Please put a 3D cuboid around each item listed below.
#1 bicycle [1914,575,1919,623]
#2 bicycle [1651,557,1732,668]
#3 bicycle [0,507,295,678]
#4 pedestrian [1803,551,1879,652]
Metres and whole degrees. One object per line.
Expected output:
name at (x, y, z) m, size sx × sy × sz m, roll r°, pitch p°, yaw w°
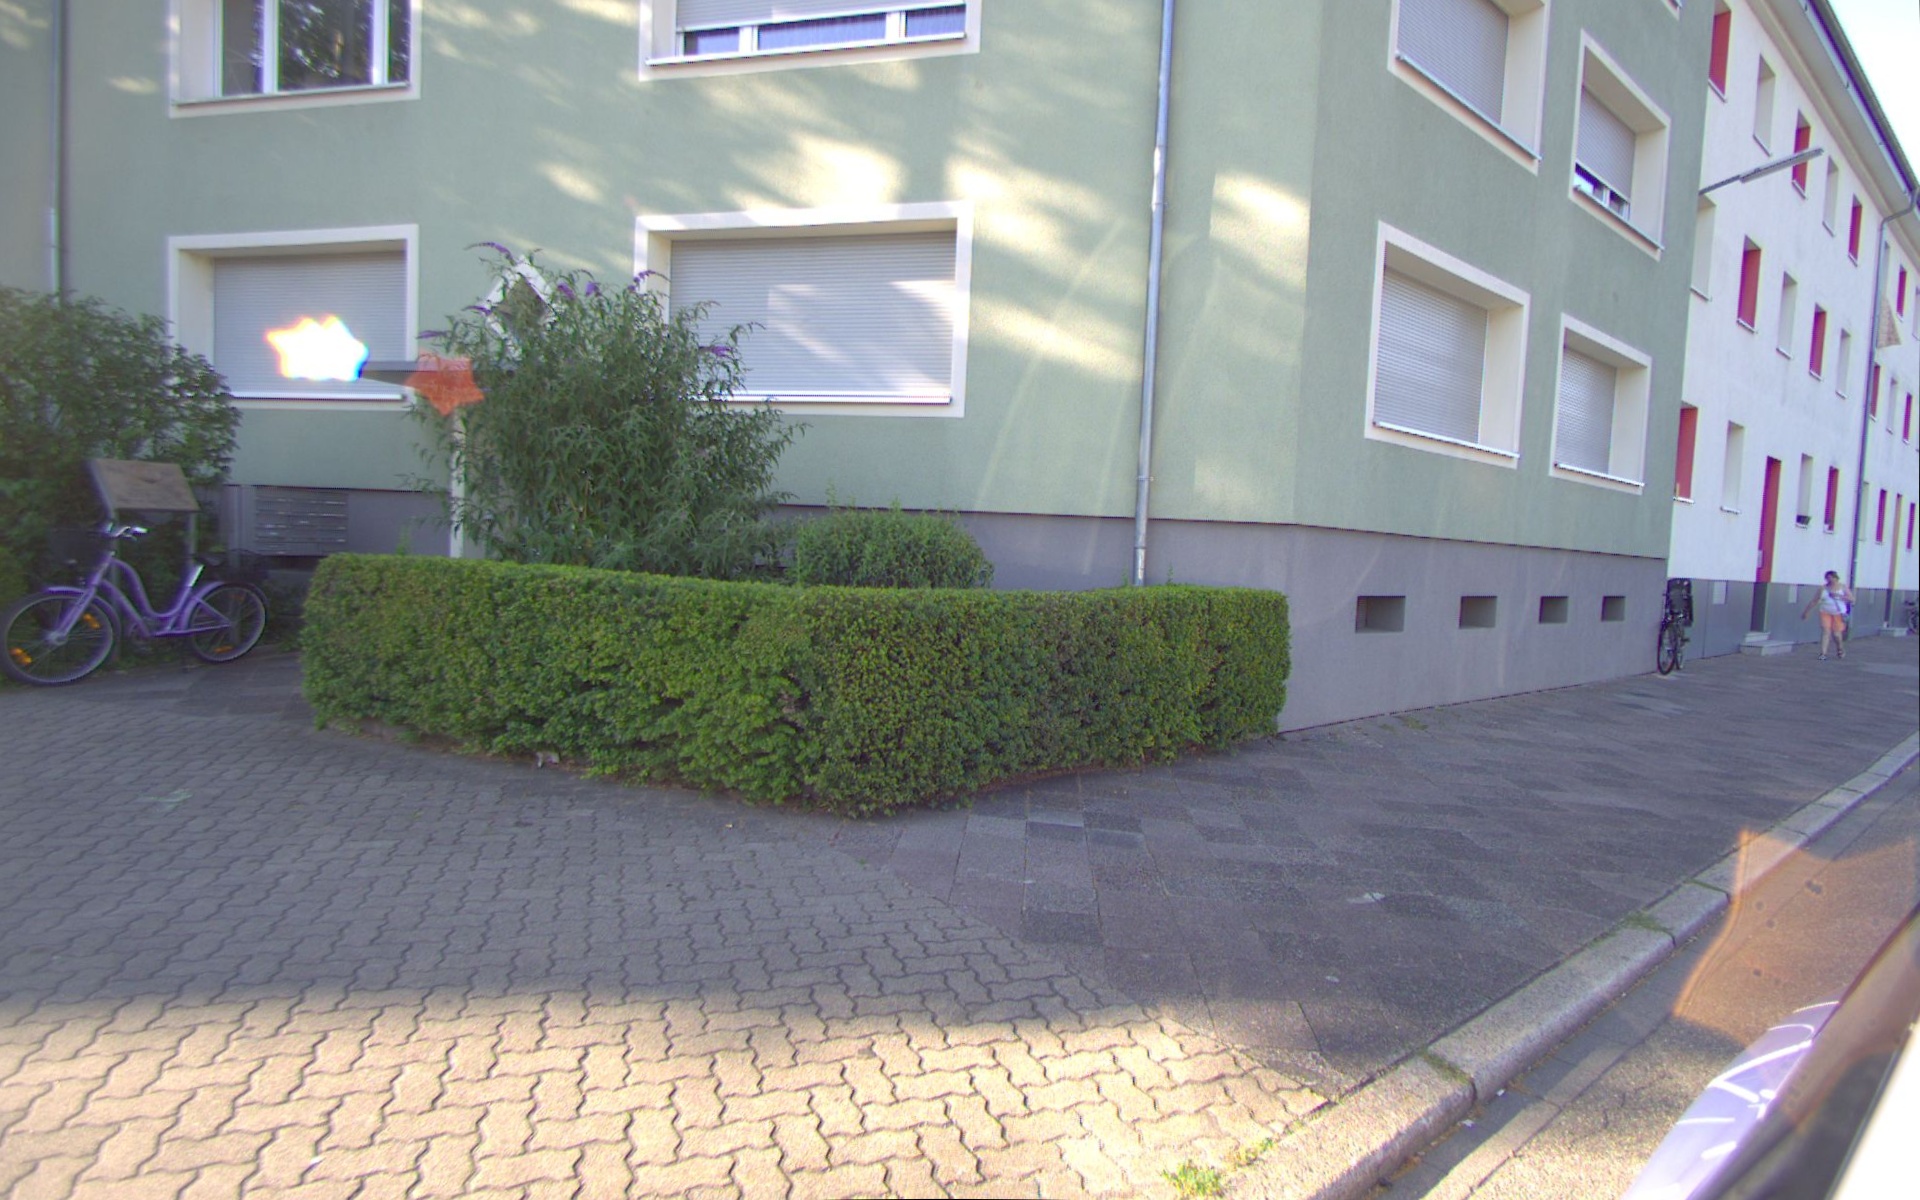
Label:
bicycle at (29.428, -0.014, 30.742) m, size 1.843 × 1.429 × 0.517 m, roll -1°, pitch 4°, yaw -44°
bicycle at (10.129, 0.146, 13.993) m, size 1.843 × 1.429 × 0.517 m, roll -1°, pitch 4°, yaw -44°
bicycle at (-5.913, -0.093, 7.292) m, size 0.515 × 1.069 × 1.920 m, roll 3°, pitch 3°, yaw 22°
pedestrian at (15.958, 0.014, 18.329) m, size 0.933 × 1.727 × 0.787 m, roll 0°, pitch 5°, yaw -41°
